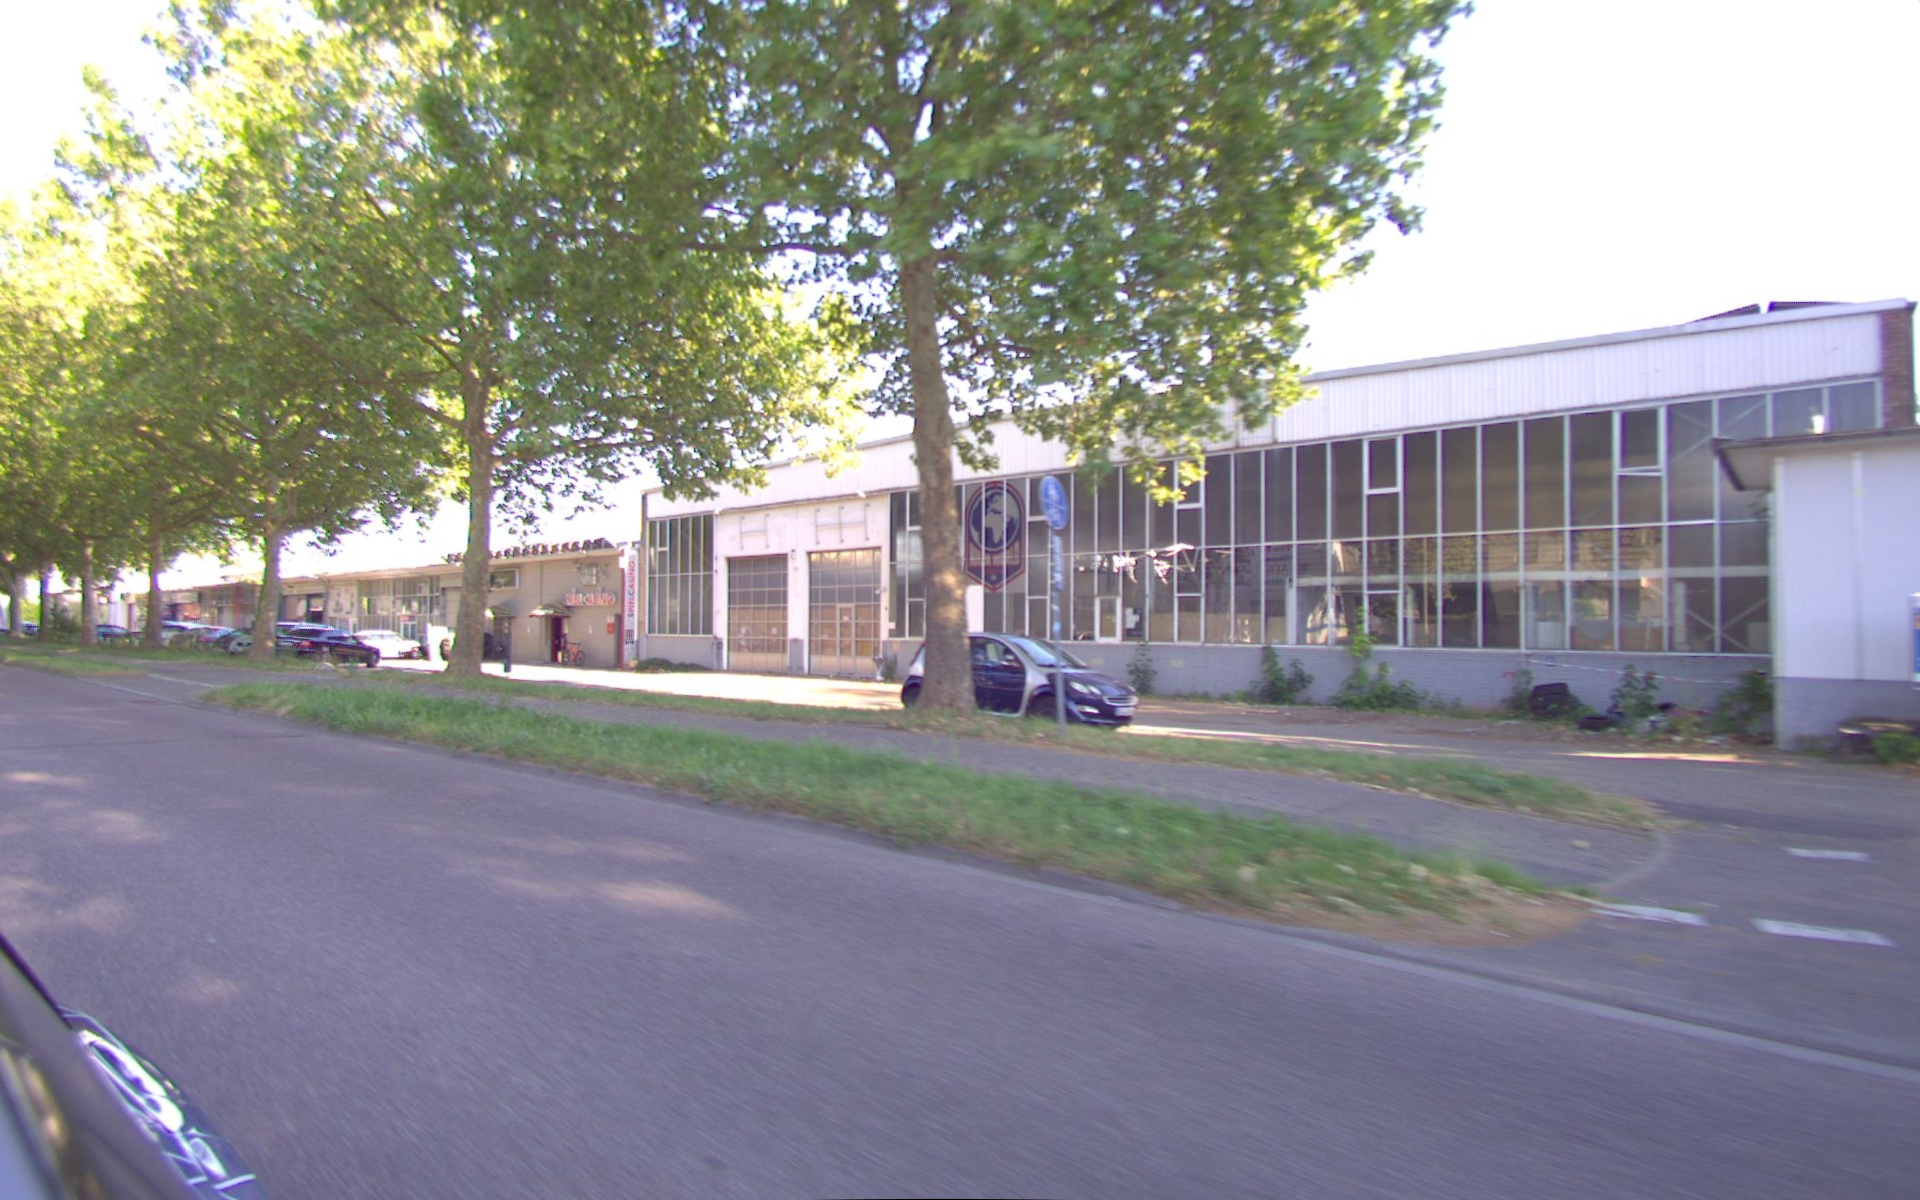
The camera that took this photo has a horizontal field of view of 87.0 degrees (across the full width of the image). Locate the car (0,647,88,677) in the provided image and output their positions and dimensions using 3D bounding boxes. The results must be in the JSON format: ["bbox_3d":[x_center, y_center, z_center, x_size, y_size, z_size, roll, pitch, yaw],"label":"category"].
[{"bbox_3d":[-61.498,4.096,67.419,1.983,1.773,4.872,0,-1,17],"label":"car"}]

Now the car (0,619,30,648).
[{"bbox_3d":[-102.589,3.375,106.292,2.575,2.875,6.931,0,-6,12],"label":"car"}]

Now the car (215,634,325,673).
[{"bbox_3d":[-31.589,2.431,46.494,1.974,1.642,4.258,0,-1,3],"label":"car"}]

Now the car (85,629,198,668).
[{"bbox_3d":[-39.596,2.313,49.075,1.977,1.763,3.989,0,-1,9],"label":"car"}]

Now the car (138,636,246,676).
[{"bbox_3d":[-34.366,2.473,45.435,1.969,1.642,4.269,0,-1,-7],"label":"car"}]

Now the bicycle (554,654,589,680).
[{"bbox_3d":[-17.989,3.076,46.838,2.159,1.066,0.530,-1,4,42],"label":"bicycle"}]

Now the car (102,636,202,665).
[{"bbox_3d":[-44.006,2.718,55.256,1.973,1.463,4.259,0,-1,3],"label":"car"}]

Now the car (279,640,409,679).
[{"bbox_3d":[-22.002,2.109,36.397,1.972,1.316,4.484,0,-3,-1],"label":"car"}]

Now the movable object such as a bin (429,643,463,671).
[{"bbox_3d":[-27.179,3.001,53.508,1.571,1.442,1.046,-1,-1,39],"label":"movable object such as a bin"}]

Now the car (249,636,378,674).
[{"bbox_3d":[-24.047,2.040,37.851,1.972,1.316,4.484,0,-3,-1],"label":"car"}]

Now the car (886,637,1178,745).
[{"bbox_3d":[1.039,1.341,15.206,3.913,1.380,1.975,-1,-7,37],"label":"car"}]

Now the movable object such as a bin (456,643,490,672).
[{"bbox_3d":[-25.576,3.004,53.139,1.626,1.442,1.046,-1,-1,39],"label":"movable object such as a bin"}]

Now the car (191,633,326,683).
[{"bbox_3d":[-27.017,2.199,39.186,1.974,1.744,4.479,0,-1,3],"label":"car"}]

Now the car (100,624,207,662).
[{"bbox_3d":[-38.152,2.000,48.000,1.969,1.712,4.268,0,-1,-6],"label":"car"}]
